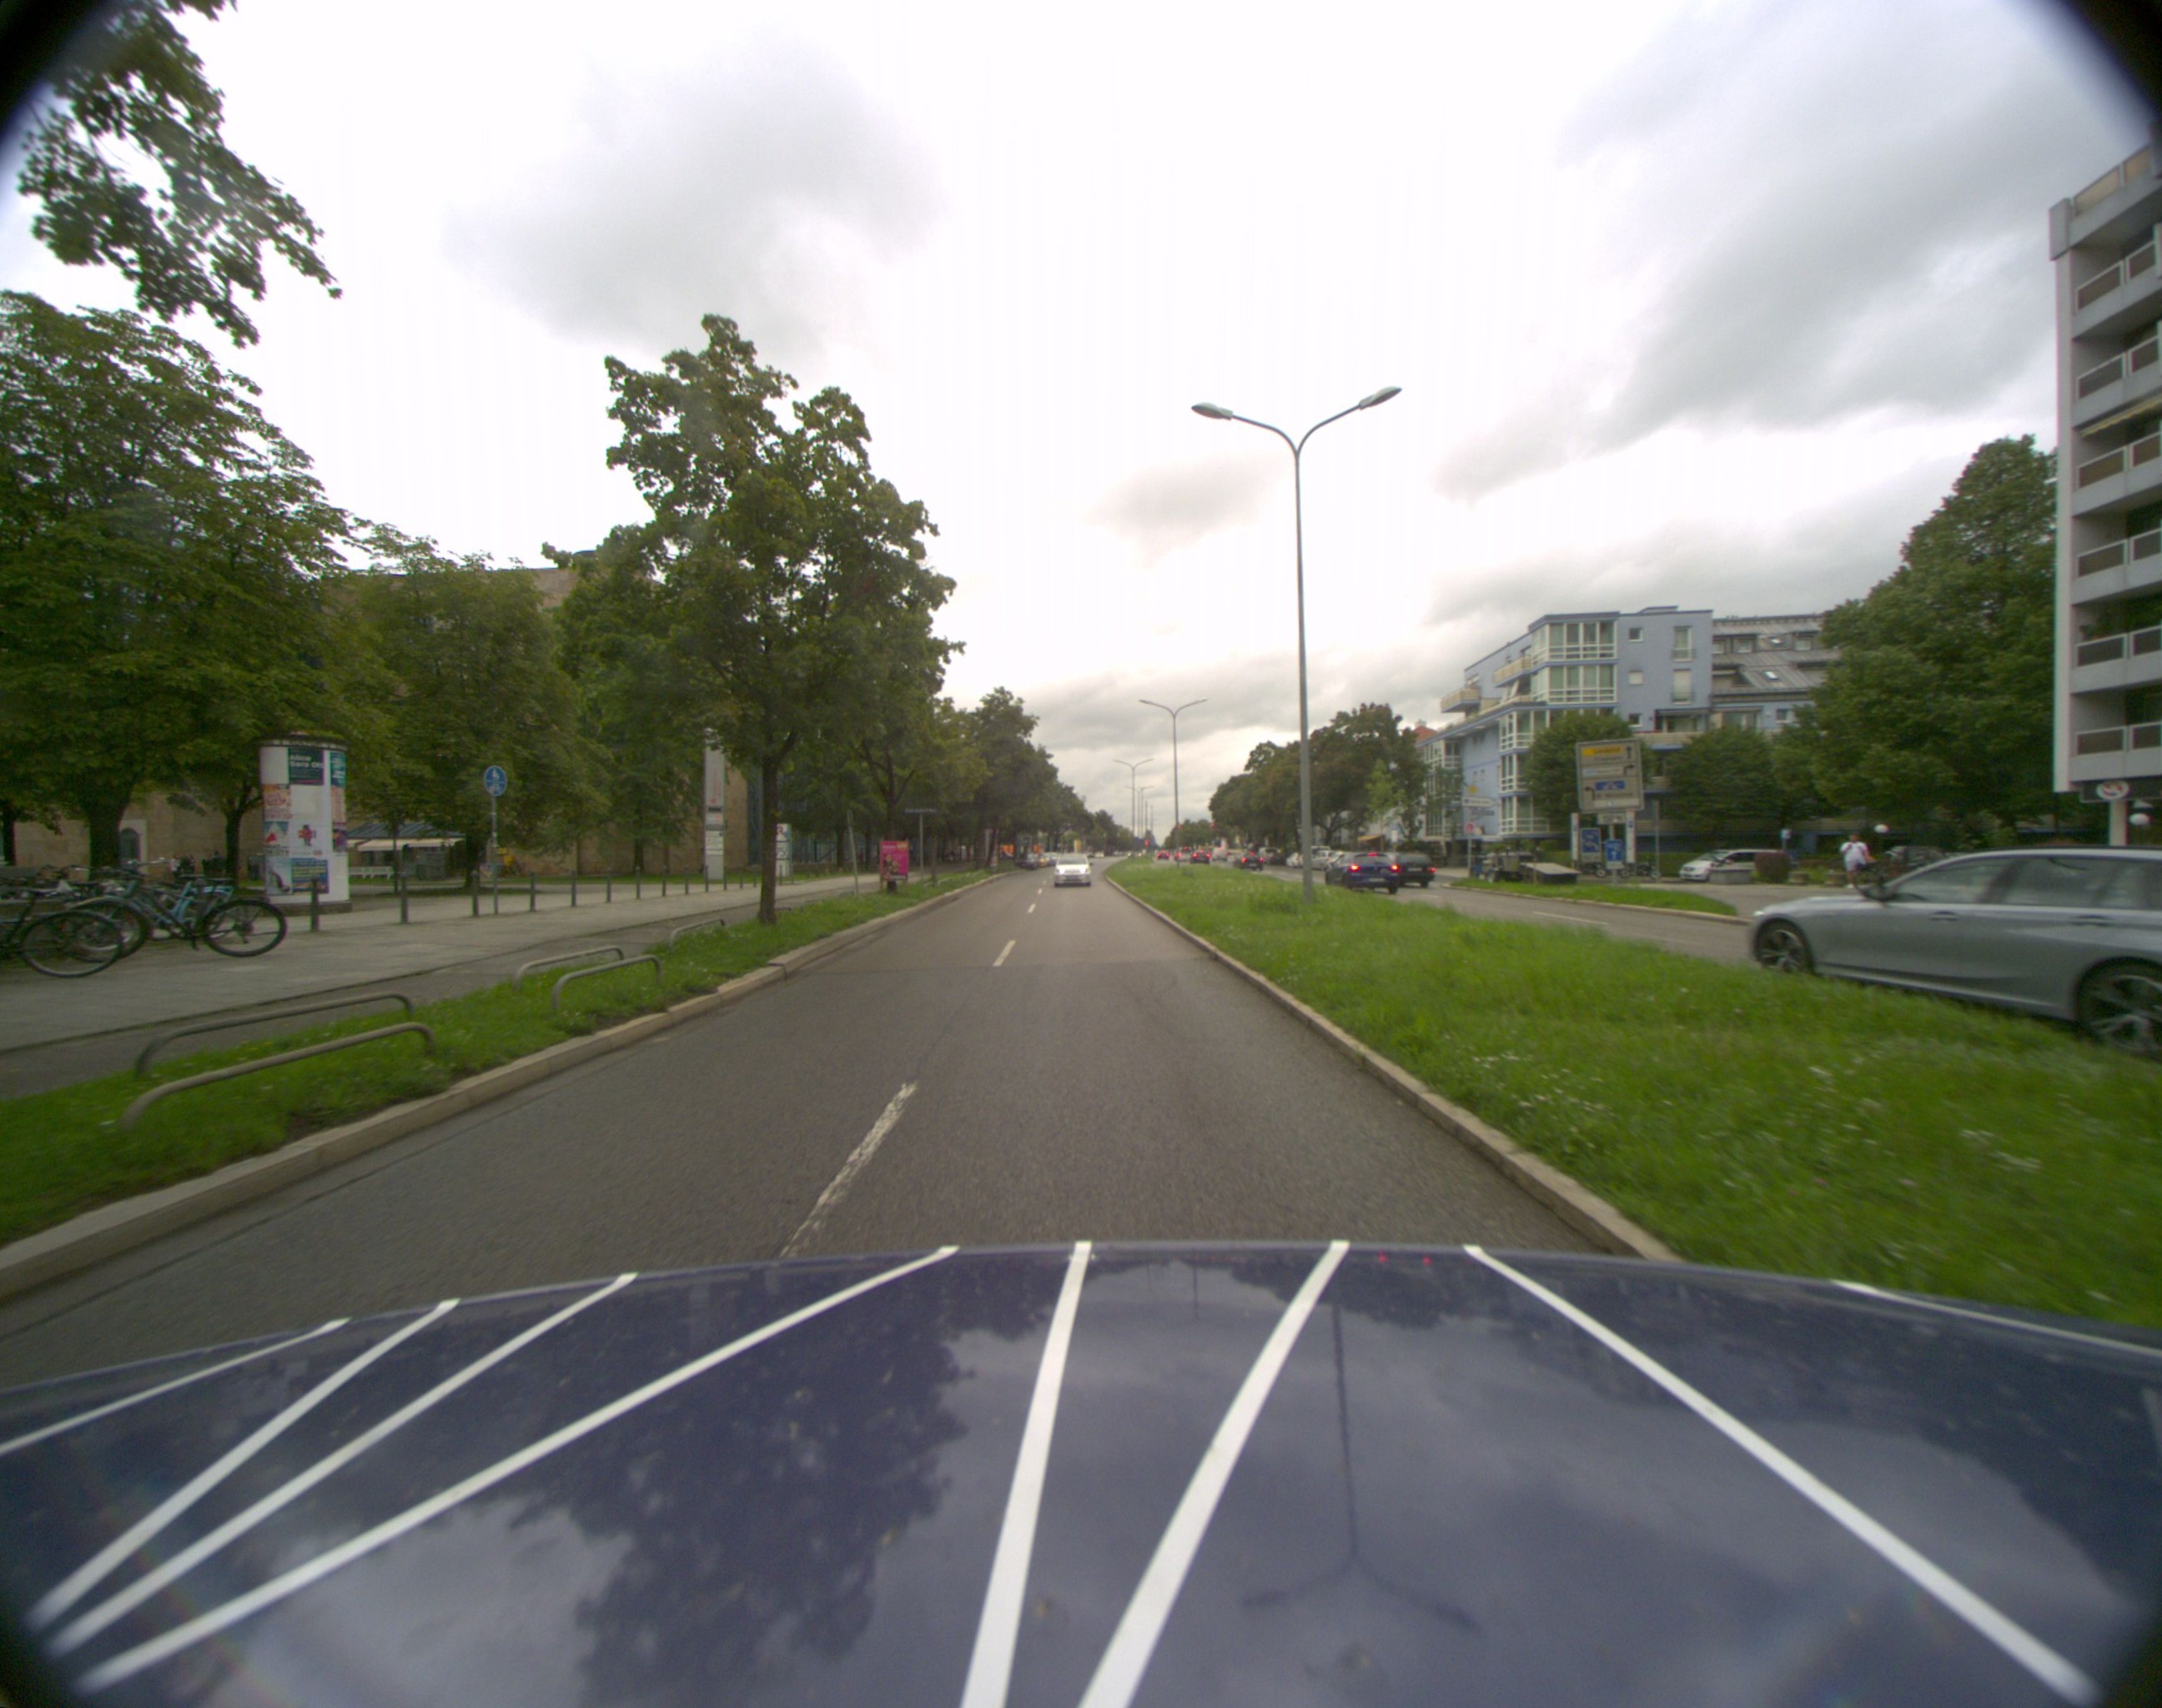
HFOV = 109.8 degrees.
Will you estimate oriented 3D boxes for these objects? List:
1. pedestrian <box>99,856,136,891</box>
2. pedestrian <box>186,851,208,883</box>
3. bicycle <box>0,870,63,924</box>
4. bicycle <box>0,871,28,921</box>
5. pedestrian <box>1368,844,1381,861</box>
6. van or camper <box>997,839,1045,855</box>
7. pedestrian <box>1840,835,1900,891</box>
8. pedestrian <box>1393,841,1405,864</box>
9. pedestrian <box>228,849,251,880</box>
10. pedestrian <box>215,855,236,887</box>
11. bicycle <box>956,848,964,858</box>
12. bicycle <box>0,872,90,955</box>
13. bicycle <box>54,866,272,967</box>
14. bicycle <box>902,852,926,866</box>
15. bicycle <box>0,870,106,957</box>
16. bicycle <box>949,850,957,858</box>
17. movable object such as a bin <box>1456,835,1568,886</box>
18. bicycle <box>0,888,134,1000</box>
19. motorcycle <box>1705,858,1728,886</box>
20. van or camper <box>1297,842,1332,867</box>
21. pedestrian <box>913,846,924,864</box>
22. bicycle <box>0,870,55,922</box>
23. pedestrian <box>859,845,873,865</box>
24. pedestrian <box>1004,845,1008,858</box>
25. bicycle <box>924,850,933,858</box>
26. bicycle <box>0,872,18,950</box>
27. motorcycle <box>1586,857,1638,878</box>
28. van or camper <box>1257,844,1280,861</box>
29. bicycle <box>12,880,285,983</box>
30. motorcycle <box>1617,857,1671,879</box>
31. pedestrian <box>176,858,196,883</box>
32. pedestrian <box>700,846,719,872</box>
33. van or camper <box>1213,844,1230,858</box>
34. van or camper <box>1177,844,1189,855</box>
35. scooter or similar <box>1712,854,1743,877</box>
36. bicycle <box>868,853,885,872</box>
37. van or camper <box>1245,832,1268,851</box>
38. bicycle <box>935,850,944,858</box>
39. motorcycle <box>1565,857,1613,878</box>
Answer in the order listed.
[{"bbox_3d":[-45.723,0.912,36.069,0.588,1.668,0.866,0,1,4],"label":"pedestrian"},{"bbox_3d":[-45.331,0.659,38.985,0.594,1.668,0.502,-1,1,-34],"label":"pedestrian"},{"bbox_3d":[-26.029,1.035,18.179,0.608,1.253,2.055,0,1,-3],"label":"bicycle"},{"bbox_3d":[-27.264,1.065,18.438,0.510,1.253,2.174,0,1,-5],"label":"bicycle"},{"bbox_3d":[28.207,-0.152,73.096,0.975,1.593,0.767,0,1,-2],"label":"pedestrian"},{"bbox_3d":[-13.663,-1.628,174.224,10.890,3.533,3.323,0,1,-2],"label":"van or camper"},{"bbox_3d":[24.513,0.283,23.621,0.670,1.698,1.131,0,1,-1],"label":"pedestrian"},{"bbox_3d":[25.245,-0.150,60.288,0.644,1.795,0.779,0,1,-2],"label":"pedestrian"},{"bbox_3d":[-45.027,0.564,40.669,0.563,1.668,0.593,0,1,4],"label":"pedestrian"},{"bbox_3d":[-44.813,0.880,39.786,0.502,1.668,0.594,0,1,26],"label":"pedestrian"},{"bbox_3d":[-14.718,-0.155,92.776,0.512,1.186,2.142,0,1,3],"label":"bicycle"},{"bbox_3d":[-16.006,0.881,11.047,0.513,1.182,2.140,0,1,-5],"label":"bicycle"},{"bbox_3d":[-12.215,0.783,10.224,0.489,1.182,1.954,0,1,2],"label":"bicycle"},{"bbox_3d":[-13.478,0.415,61.376,0.725,1.123,1.770,1,1,44],"label":"bicycle"},{"bbox_3d":[-15.450,0.856,10.836,0.447,1.182,2.140,0,1,-5],"label":"bicycle"},{"bbox_3d":[-15.656,0.005,92.690,0.512,0.935,2.142,0,1,3],"label":"bicycle"},{"bbox_3d":[17.264,0.229,30.693,2.199,1.941,3.999,0,1,-1],"label":"movable object such as a bin"},{"bbox_3d":[-11.364,0.929,7.745,2.045,1.083,0.603,0,3,-40],"label":"bicycle"},{"bbox_3d":[25.410,0.694,30.386,0.418,1.080,1.787,0,1,31],"label":"motorcycle"},{"bbox_3d":[19.629,0.015,64.103,1.809,1.956,5.212,0,1,5],"label":"van or camper"},{"bbox_3d":[-15.245,0.073,71.348,0.737,1.636,0.646,2,2,30],"label":"pedestrian"},{"bbox_3d":[-26.689,1.048,18.535,0.510,1.253,2.174,0,1,-5],"label":"bicycle"},{"bbox_3d":[-18.398,0.089,65.040,0.737,1.636,0.864,2,2,14],"label":"pedestrian"},{"bbox_3d":[-10.138,-0.374,102.639,0.528,1.713,0.660,1,2,1],"label":"pedestrian"},{"bbox_3d":[-18.266,-0.013,91.012,0.571,0.935,2.064,0,1,3],"label":"bicycle"},{"bbox_3d":[-16.667,0.886,10.669,0.579,1.182,2.140,0,1,-5],"label":"bicycle"},{"bbox_3d":[29.516,0.736,42.260,0.499,1.126,2.473,-1,1,-22],"label":"motorcycle"},{"bbox_3d":[22.108,-0.175,89.687,2.025,1.931,4.705,0,1,6],"label":"van or camper"},{"bbox_3d":[-11.247,0.892,9.290,2.036,1.093,0.578,1,2,-40],"label":"bicycle"},{"bbox_3d":[31.029,0.736,41.938,0.499,1.126,2.473,-1,1,-23],"label":"motorcycle"},{"bbox_3d":[-47.335,0.861,40.200,0.420,1.275,0.513,0,1,-10],"label":"pedestrian"},{"bbox_3d":[-23.599,0.335,48.248,0.571,1.636,0.881,1,2,42],"label":"pedestrian"},{"bbox_3d":[21.131,-0.429,114.534,2.020,2.004,5.200,0,1,5],"label":"van or camper"},{"bbox_3d":[16.422,-0.784,122.249,1.795,1.787,4.126,0,1,6],"label":"van or camper"},{"bbox_3d":[26.918,0.479,31.639,1.152,0.953,0.442,-1,1,-17],"label":"scooter or similar"},{"bbox_3d":[-13.202,0.539,49.148,0.622,1.243,1.920,0,1,-2],"label":"bicycle"},{"bbox_3d":[22.930,-1.594,99.355,2.054,2.472,5.549,0,1,4],"label":"van or camper"},{"bbox_3d":[-17.087,0.000,91.685,0.618,0.935,1.763,0,1,3],"label":"bicycle"},{"bbox_3d":[28.320,0.739,42.446,0.498,1.126,2.474,0,1,-17],"label":"motorcycle"}]
